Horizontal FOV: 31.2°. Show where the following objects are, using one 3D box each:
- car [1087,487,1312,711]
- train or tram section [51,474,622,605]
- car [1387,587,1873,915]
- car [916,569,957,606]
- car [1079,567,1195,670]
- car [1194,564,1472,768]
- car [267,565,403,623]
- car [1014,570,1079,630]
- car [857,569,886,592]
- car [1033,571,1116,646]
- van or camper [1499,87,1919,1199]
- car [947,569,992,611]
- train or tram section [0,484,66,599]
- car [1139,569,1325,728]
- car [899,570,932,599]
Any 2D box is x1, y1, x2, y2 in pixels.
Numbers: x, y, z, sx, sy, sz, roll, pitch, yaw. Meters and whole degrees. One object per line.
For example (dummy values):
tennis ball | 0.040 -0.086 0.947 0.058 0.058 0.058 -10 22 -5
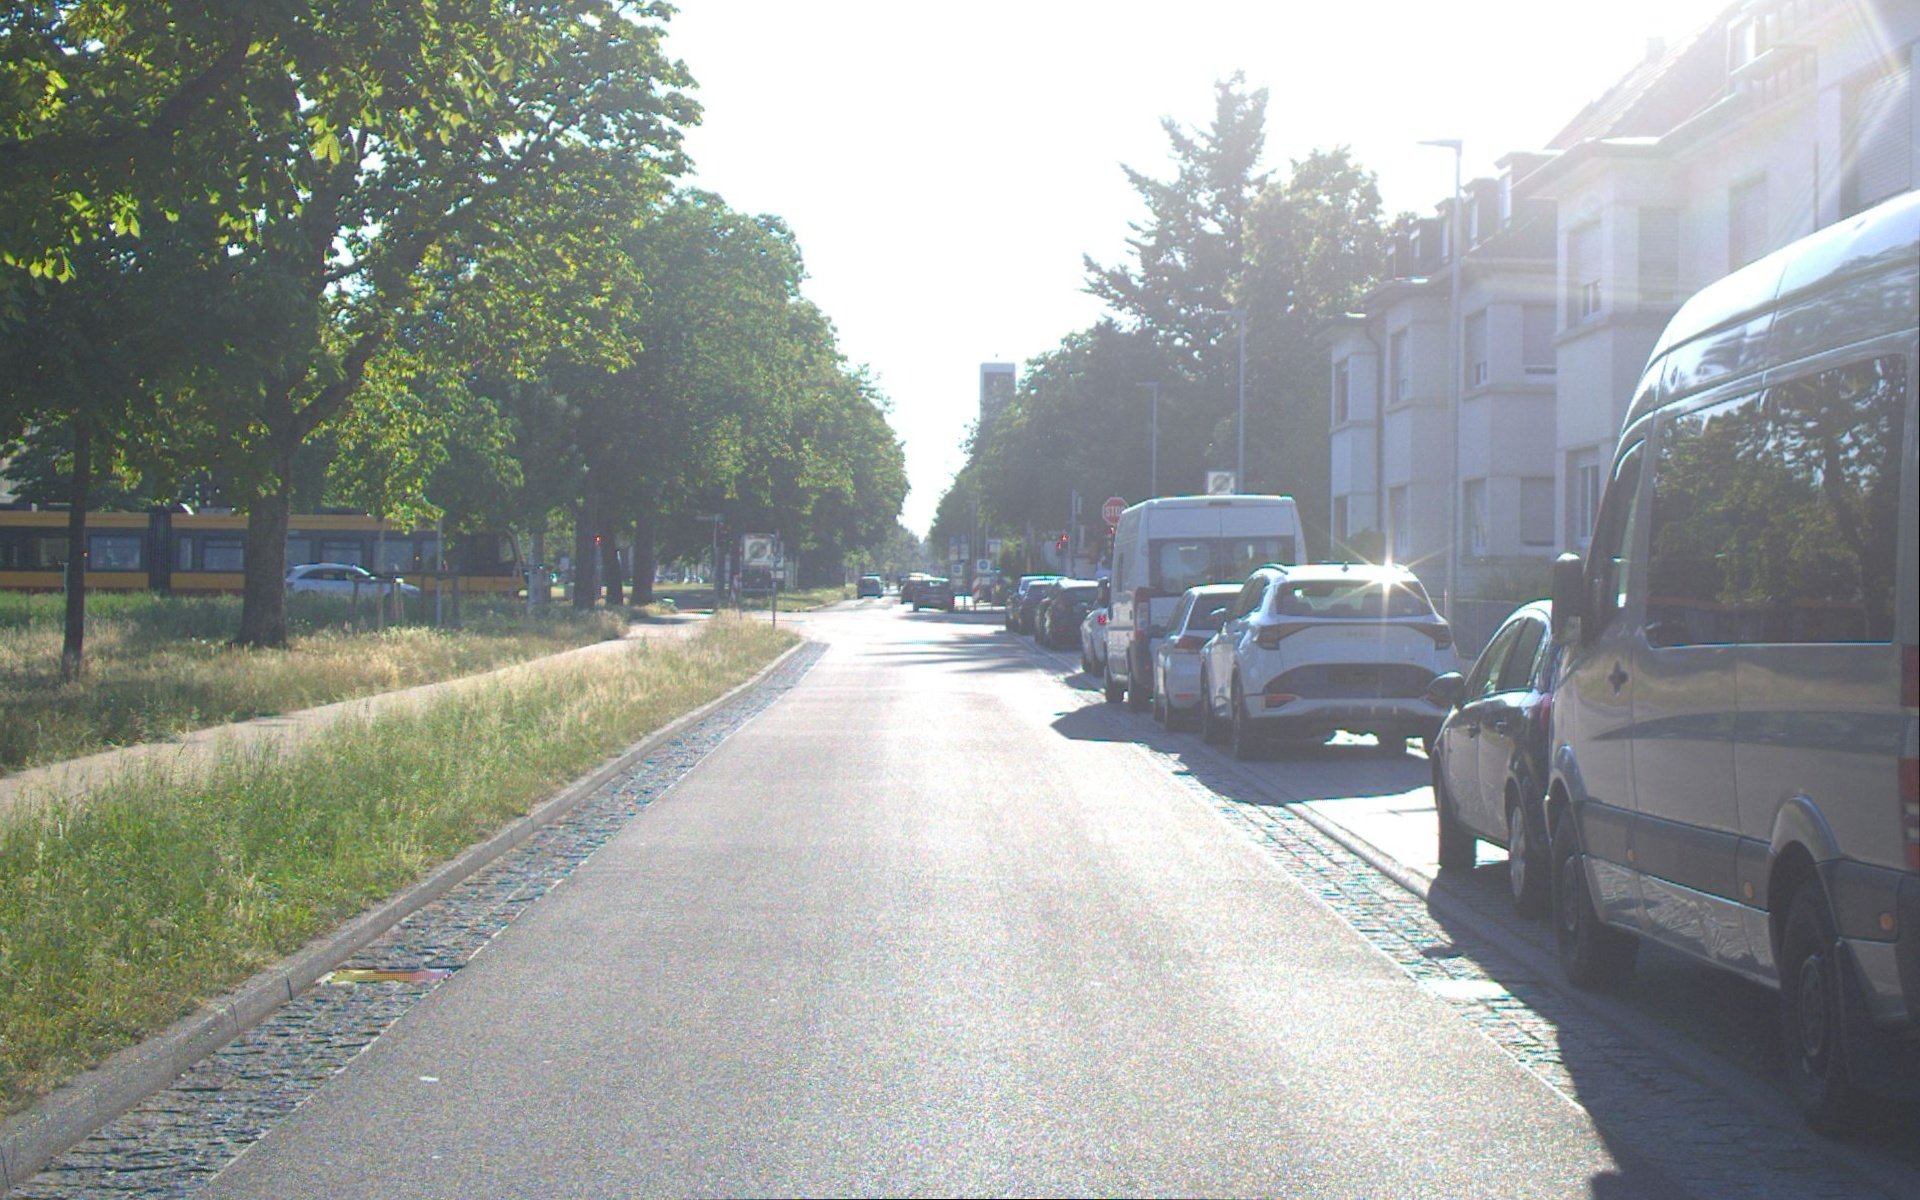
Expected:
car | 2.806 -0.047 41.540 2.126 2.524 5.189 0 1 -3
train or tram section | -22.165 -2.136 123.354 19.778 3.943 3.644 2 0 -7
car | 3.272 0.676 17.509 1.621 1.406 3.969 -3 0 0
car | -0.999 -0.540 147.564 1.650 1.525 3.851 0 1 1
car | 2.758 0.265 54.116 1.650 1.525 3.851 0 1 1
car | 3.184 0.517 30.106 1.837 1.630 4.132 0 1 -2
car | -20.783 -0.203 114.527 4.345 1.758 2.000 2 0 -9
car | 2.249 -0.015 90.145 1.650 1.525 3.851 0 1 1
car | -5.970 -1.339 232.188 1.811 1.525 3.851 0 1 1
car | 2.418 0.153 73.287 1.650 1.525 3.851 0 1 1
van or camper | 3.268 0.158 11.257 1.943 2.768 5.940 2 0 0
car | 0.354 -0.377 129.110 1.650 1.525 3.851 0 1 1
train or tram section | -41.466 -2.331 120.747 19.068 3.943 3.644 2 0 -8
car | 2.754 0.453 35.460 1.650 1.525 3.851 0 1 1
car | -2.335 -0.826 181.339 1.650 1.525 3.851 0 1 1
